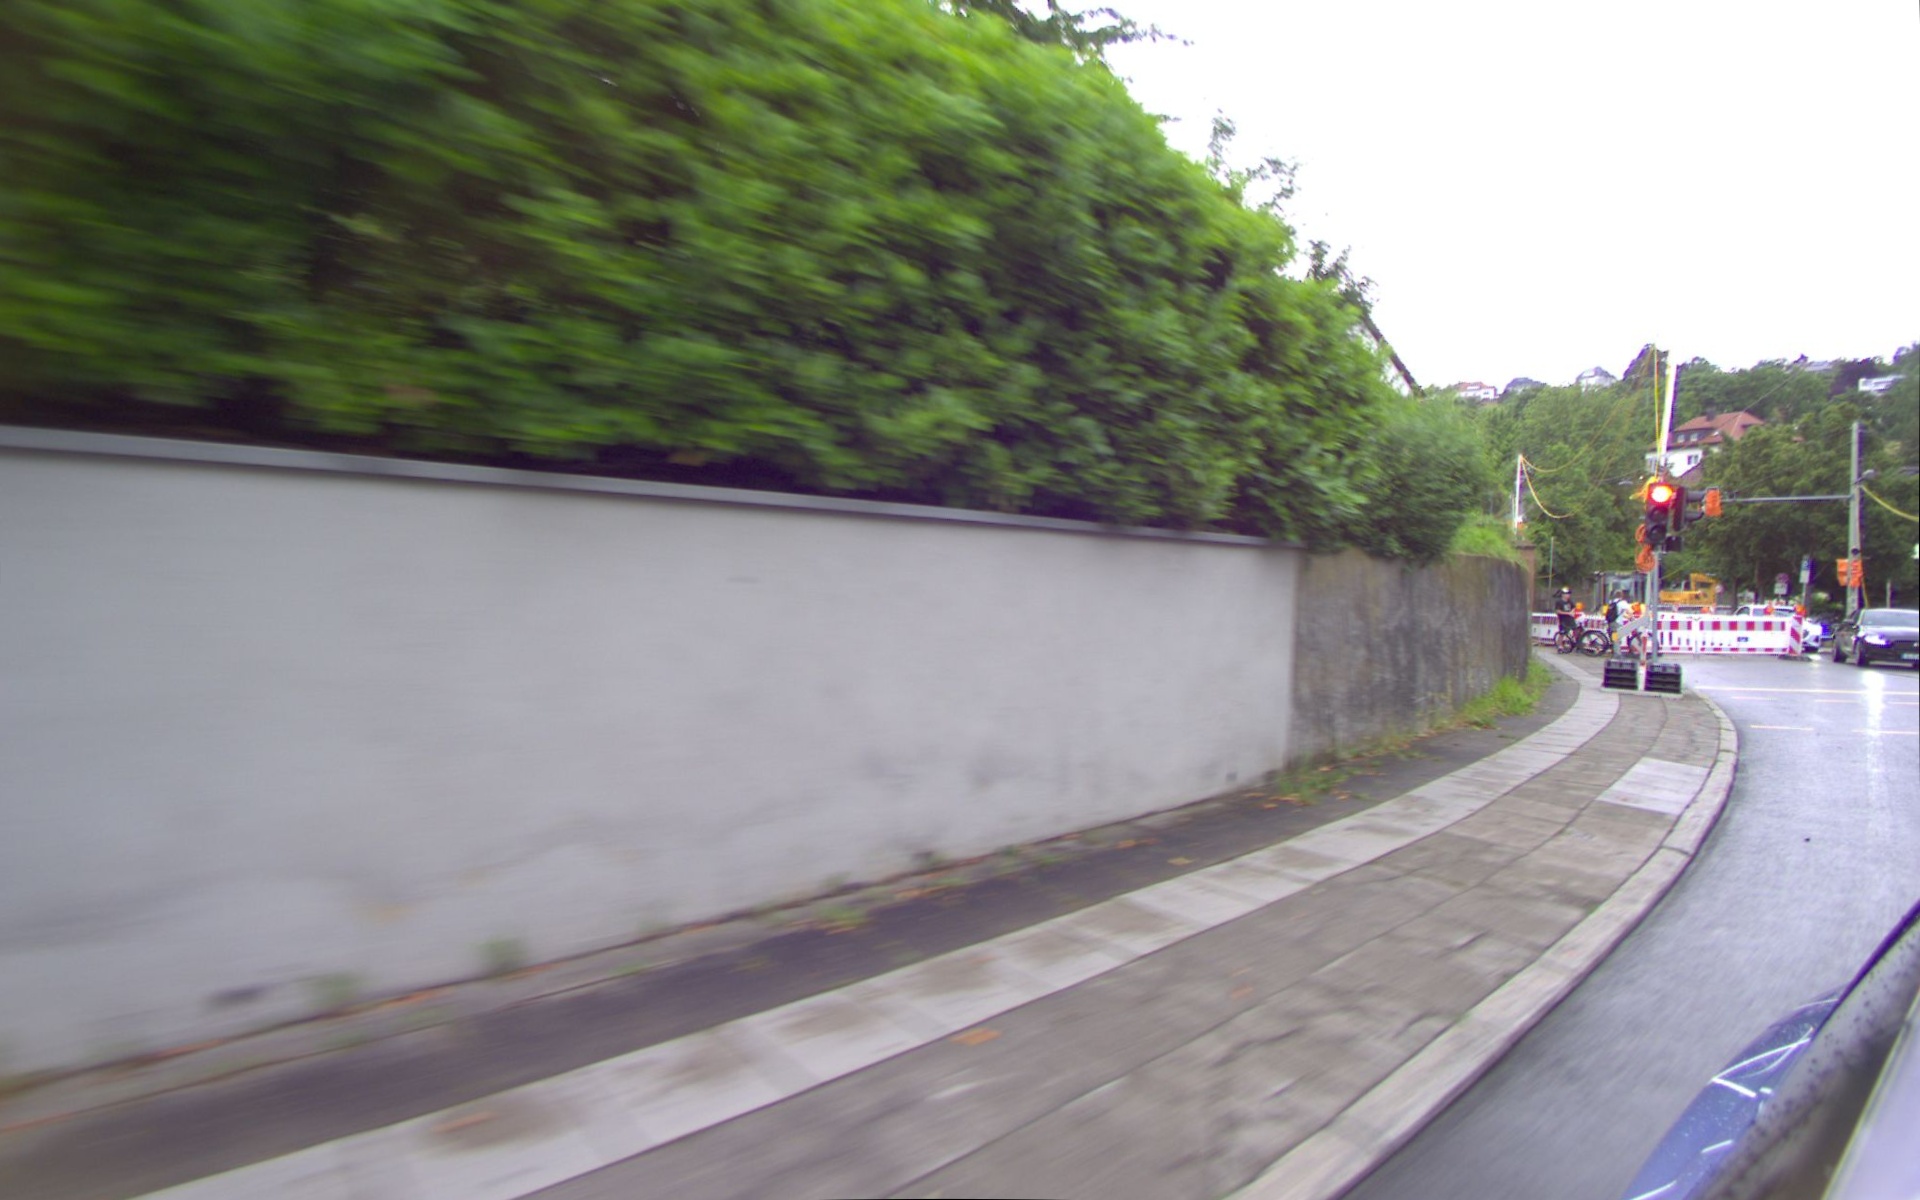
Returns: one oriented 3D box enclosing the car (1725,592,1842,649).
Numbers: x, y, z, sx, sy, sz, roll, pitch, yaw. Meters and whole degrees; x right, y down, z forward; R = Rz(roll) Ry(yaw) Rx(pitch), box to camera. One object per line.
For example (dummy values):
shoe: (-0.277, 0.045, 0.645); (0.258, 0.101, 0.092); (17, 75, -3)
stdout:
car: (29.638, 0.675, 36.607); (1.979, 1.730, 4.540); (2, 2, 22)

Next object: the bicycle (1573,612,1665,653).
bicycle: (17.478, 0.861, 26.894); (1.859, 0.993, 0.928); (1, 1, 18)

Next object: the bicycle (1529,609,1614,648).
bicycle: (17.079, 0.779, 28.309); (0.914, 0.993, 1.832); (0, 1, -29)

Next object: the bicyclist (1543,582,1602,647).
bicyclist: (17.105, 0.390, 28.256); (0.914, 1.750, 1.078); (0, 1, -29)

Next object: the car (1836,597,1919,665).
car: (22.803, 0.716, 24.404); (1.830, 1.420, 4.026); (3, 3, 32)

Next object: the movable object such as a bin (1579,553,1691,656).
movable object such as a bin: (20.823, 0.115, 31.461); (2.072, 2.874, 5.625); (1, 0, 26)

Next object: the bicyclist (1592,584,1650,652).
bicyclist: (17.536, 0.471, 26.874); (1.062, 1.750, 0.928); (1, 1, 18)

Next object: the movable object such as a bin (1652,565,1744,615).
movable object such as a bin: (61.129, -0.835, 83.815); (7.057, 3.886, 3.338); (0, 2, -29)

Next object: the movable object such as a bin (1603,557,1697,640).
movable object such as a bin: (26.261, -0.174, 38.732); (2.072, 2.872, 5.628); (1, 3, 26)

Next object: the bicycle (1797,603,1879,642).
bicycle: (34.592, 0.886, 39.909); (2.209, 1.378, 0.804); (3, 2, 21)
